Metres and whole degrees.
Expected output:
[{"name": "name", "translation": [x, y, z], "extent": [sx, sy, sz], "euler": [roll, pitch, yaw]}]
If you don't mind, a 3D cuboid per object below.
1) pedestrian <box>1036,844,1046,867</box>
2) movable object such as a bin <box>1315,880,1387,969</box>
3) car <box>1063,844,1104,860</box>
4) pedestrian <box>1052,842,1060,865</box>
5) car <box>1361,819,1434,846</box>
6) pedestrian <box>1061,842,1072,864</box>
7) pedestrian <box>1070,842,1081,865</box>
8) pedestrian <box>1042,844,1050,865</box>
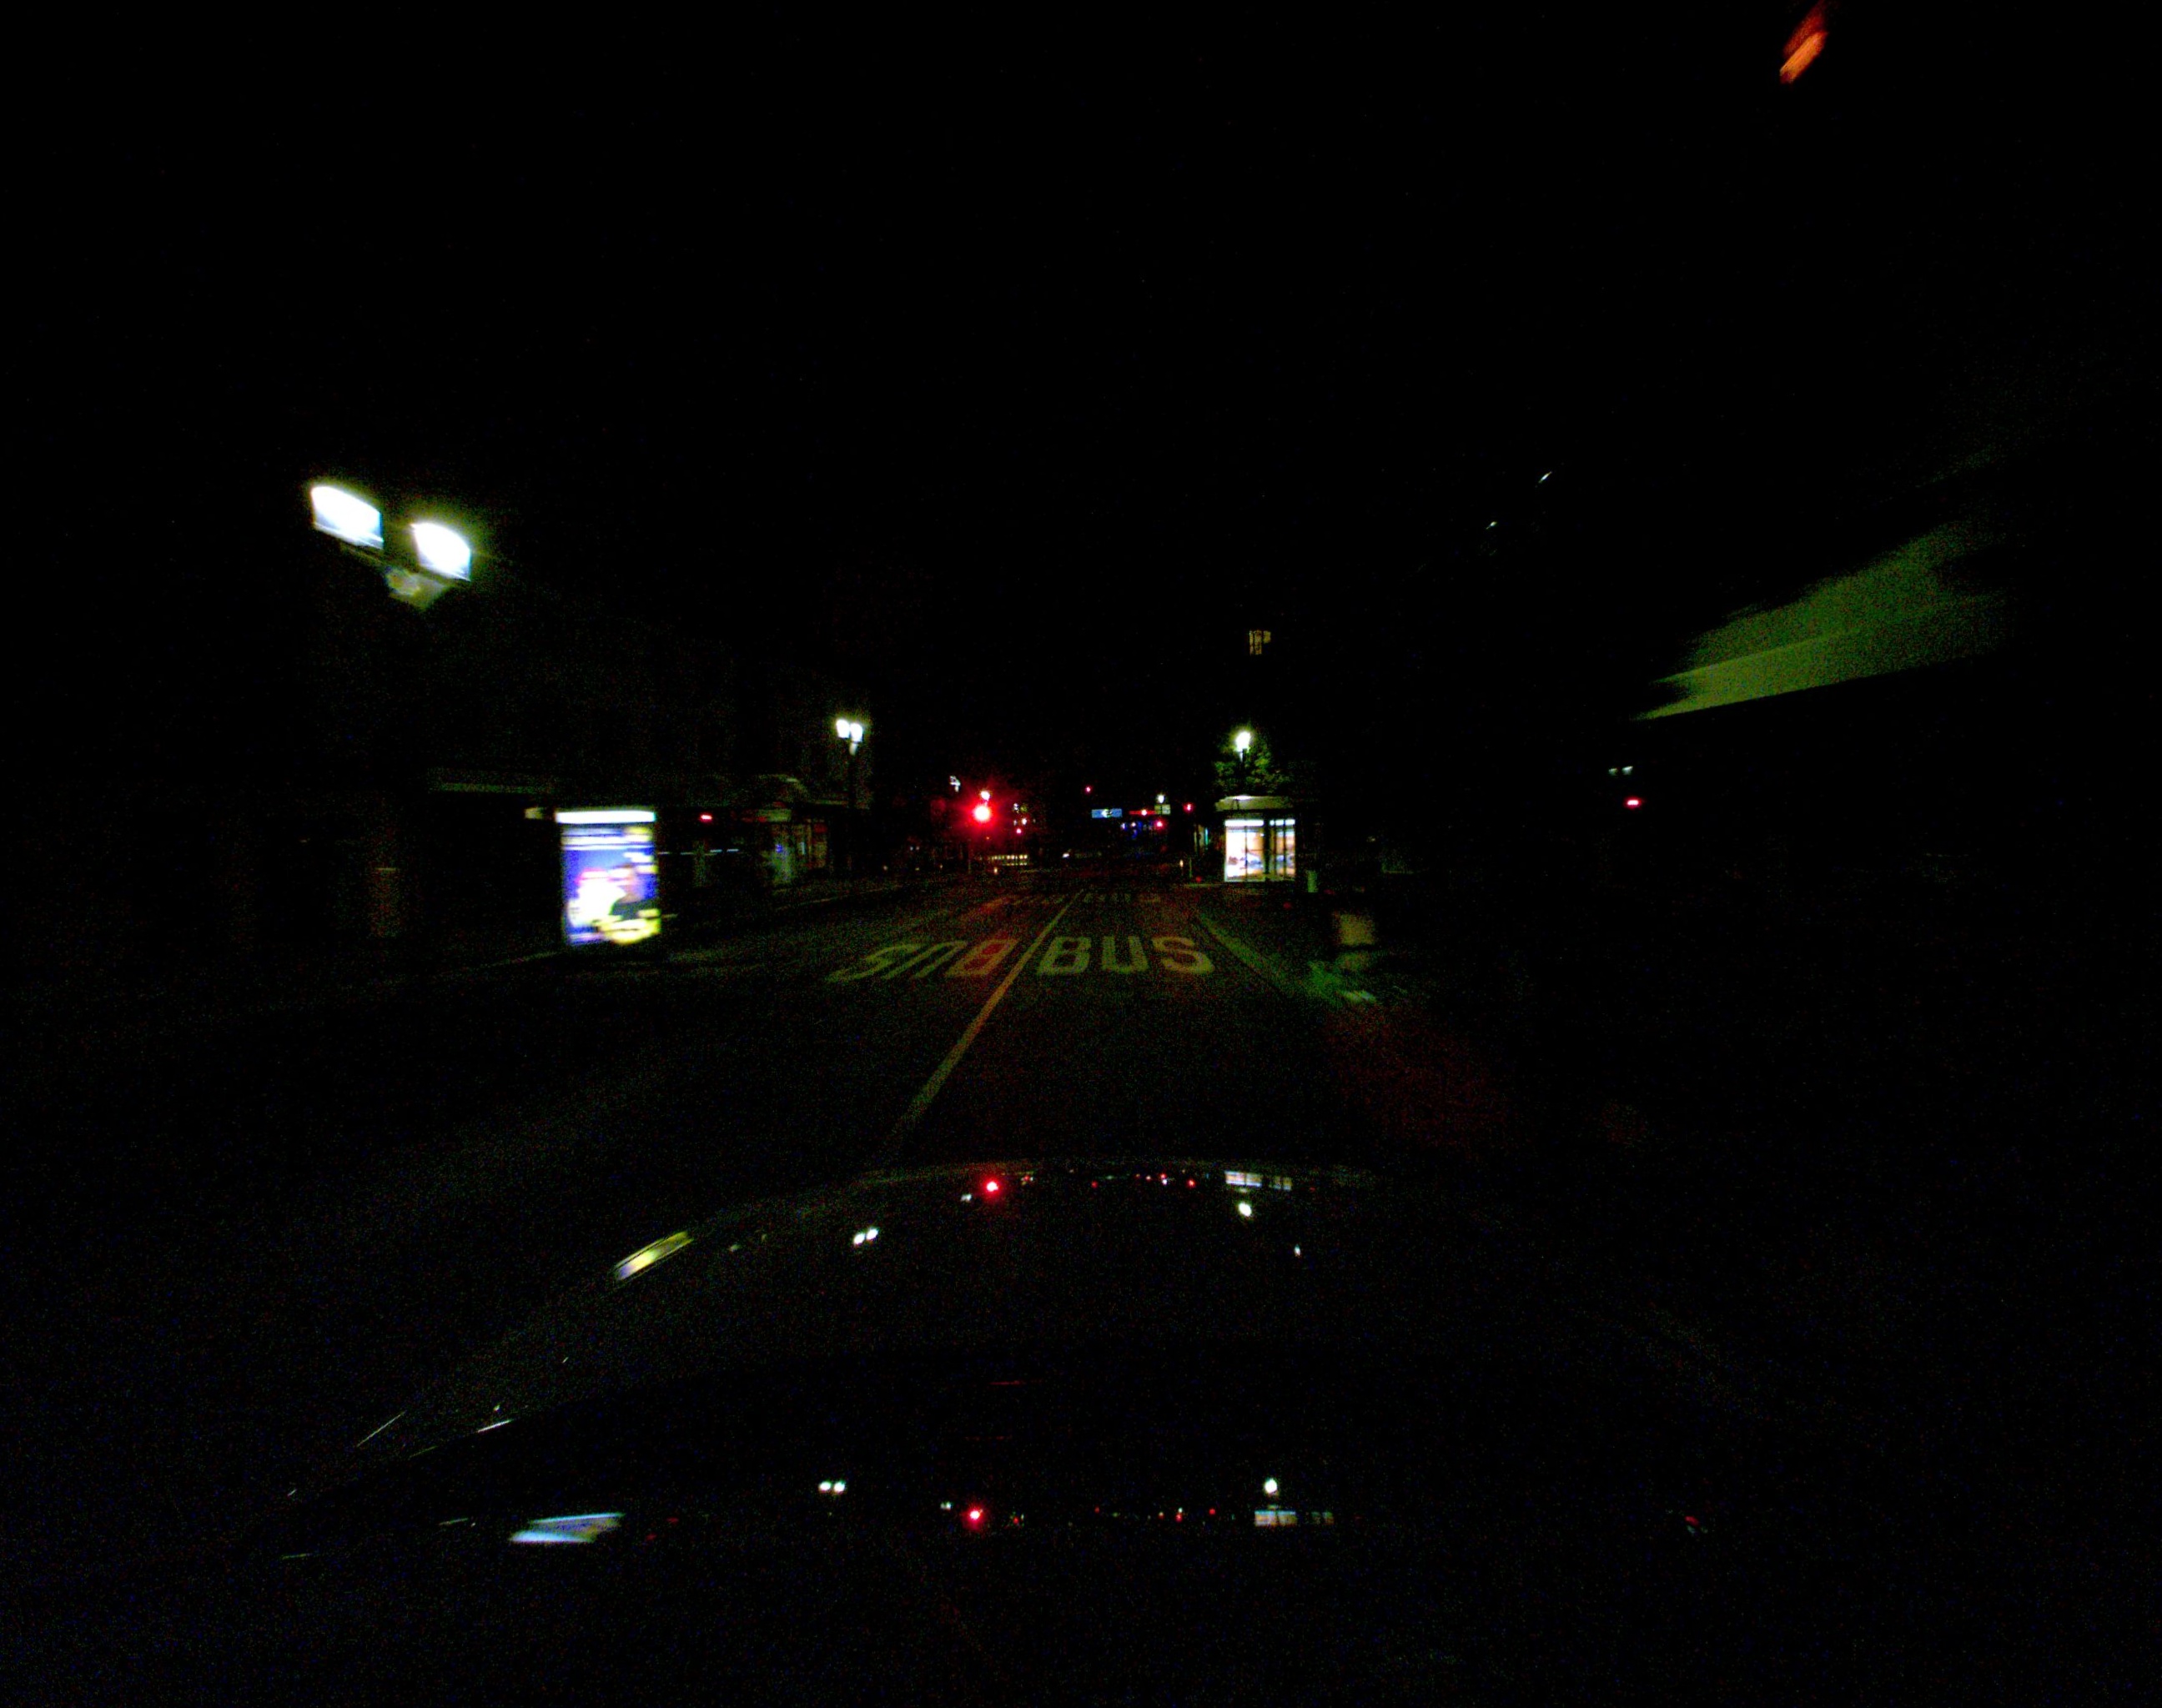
[{"name": "pedestrian", "translation": [-3.180, 0.110, 64.764], "extent": [0.712, 1.795, 0.570], "euler": [-1, -1, 7]}, {"name": "movable object such as a bin", "translation": [2.974, 0.760, 9.000], "extent": [0.523, 0.937, 0.627], "euler": [0, -1, -8]}, {"name": "car", "translation": [0.217, -0.217, 82.179], "extent": [3.759, 1.618, 1.825], "euler": [0, -1, -16]}, {"name": "pedestrian", "translation": [-2.024, -0.039, 65.676], "extent": [0.566, 1.795, 0.717], "euler": [0, -1, -2]}, {"name": "car", "translation": [20.392, -1.378, 52.572], "extent": [4.017, 1.452, 1.831], "euler": [-4, 1, 10]}, {"name": "pedestrian", "translation": [-1.135, -0.081, 65.669], "extent": [0.572, 1.795, 0.710], "euler": [1, -2, -38]}, {"name": "pedestrian", "translation": [-0.462, -0.053, 65.199], "extent": [0.736, 1.795, 0.714], "euler": [0, -1, -14]}, {"name": "pedestrian", "translation": [-2.915, 0.053, 67.928], "extent": [0.568, 1.795, 0.715], "euler": [0, -1, -11]}]
